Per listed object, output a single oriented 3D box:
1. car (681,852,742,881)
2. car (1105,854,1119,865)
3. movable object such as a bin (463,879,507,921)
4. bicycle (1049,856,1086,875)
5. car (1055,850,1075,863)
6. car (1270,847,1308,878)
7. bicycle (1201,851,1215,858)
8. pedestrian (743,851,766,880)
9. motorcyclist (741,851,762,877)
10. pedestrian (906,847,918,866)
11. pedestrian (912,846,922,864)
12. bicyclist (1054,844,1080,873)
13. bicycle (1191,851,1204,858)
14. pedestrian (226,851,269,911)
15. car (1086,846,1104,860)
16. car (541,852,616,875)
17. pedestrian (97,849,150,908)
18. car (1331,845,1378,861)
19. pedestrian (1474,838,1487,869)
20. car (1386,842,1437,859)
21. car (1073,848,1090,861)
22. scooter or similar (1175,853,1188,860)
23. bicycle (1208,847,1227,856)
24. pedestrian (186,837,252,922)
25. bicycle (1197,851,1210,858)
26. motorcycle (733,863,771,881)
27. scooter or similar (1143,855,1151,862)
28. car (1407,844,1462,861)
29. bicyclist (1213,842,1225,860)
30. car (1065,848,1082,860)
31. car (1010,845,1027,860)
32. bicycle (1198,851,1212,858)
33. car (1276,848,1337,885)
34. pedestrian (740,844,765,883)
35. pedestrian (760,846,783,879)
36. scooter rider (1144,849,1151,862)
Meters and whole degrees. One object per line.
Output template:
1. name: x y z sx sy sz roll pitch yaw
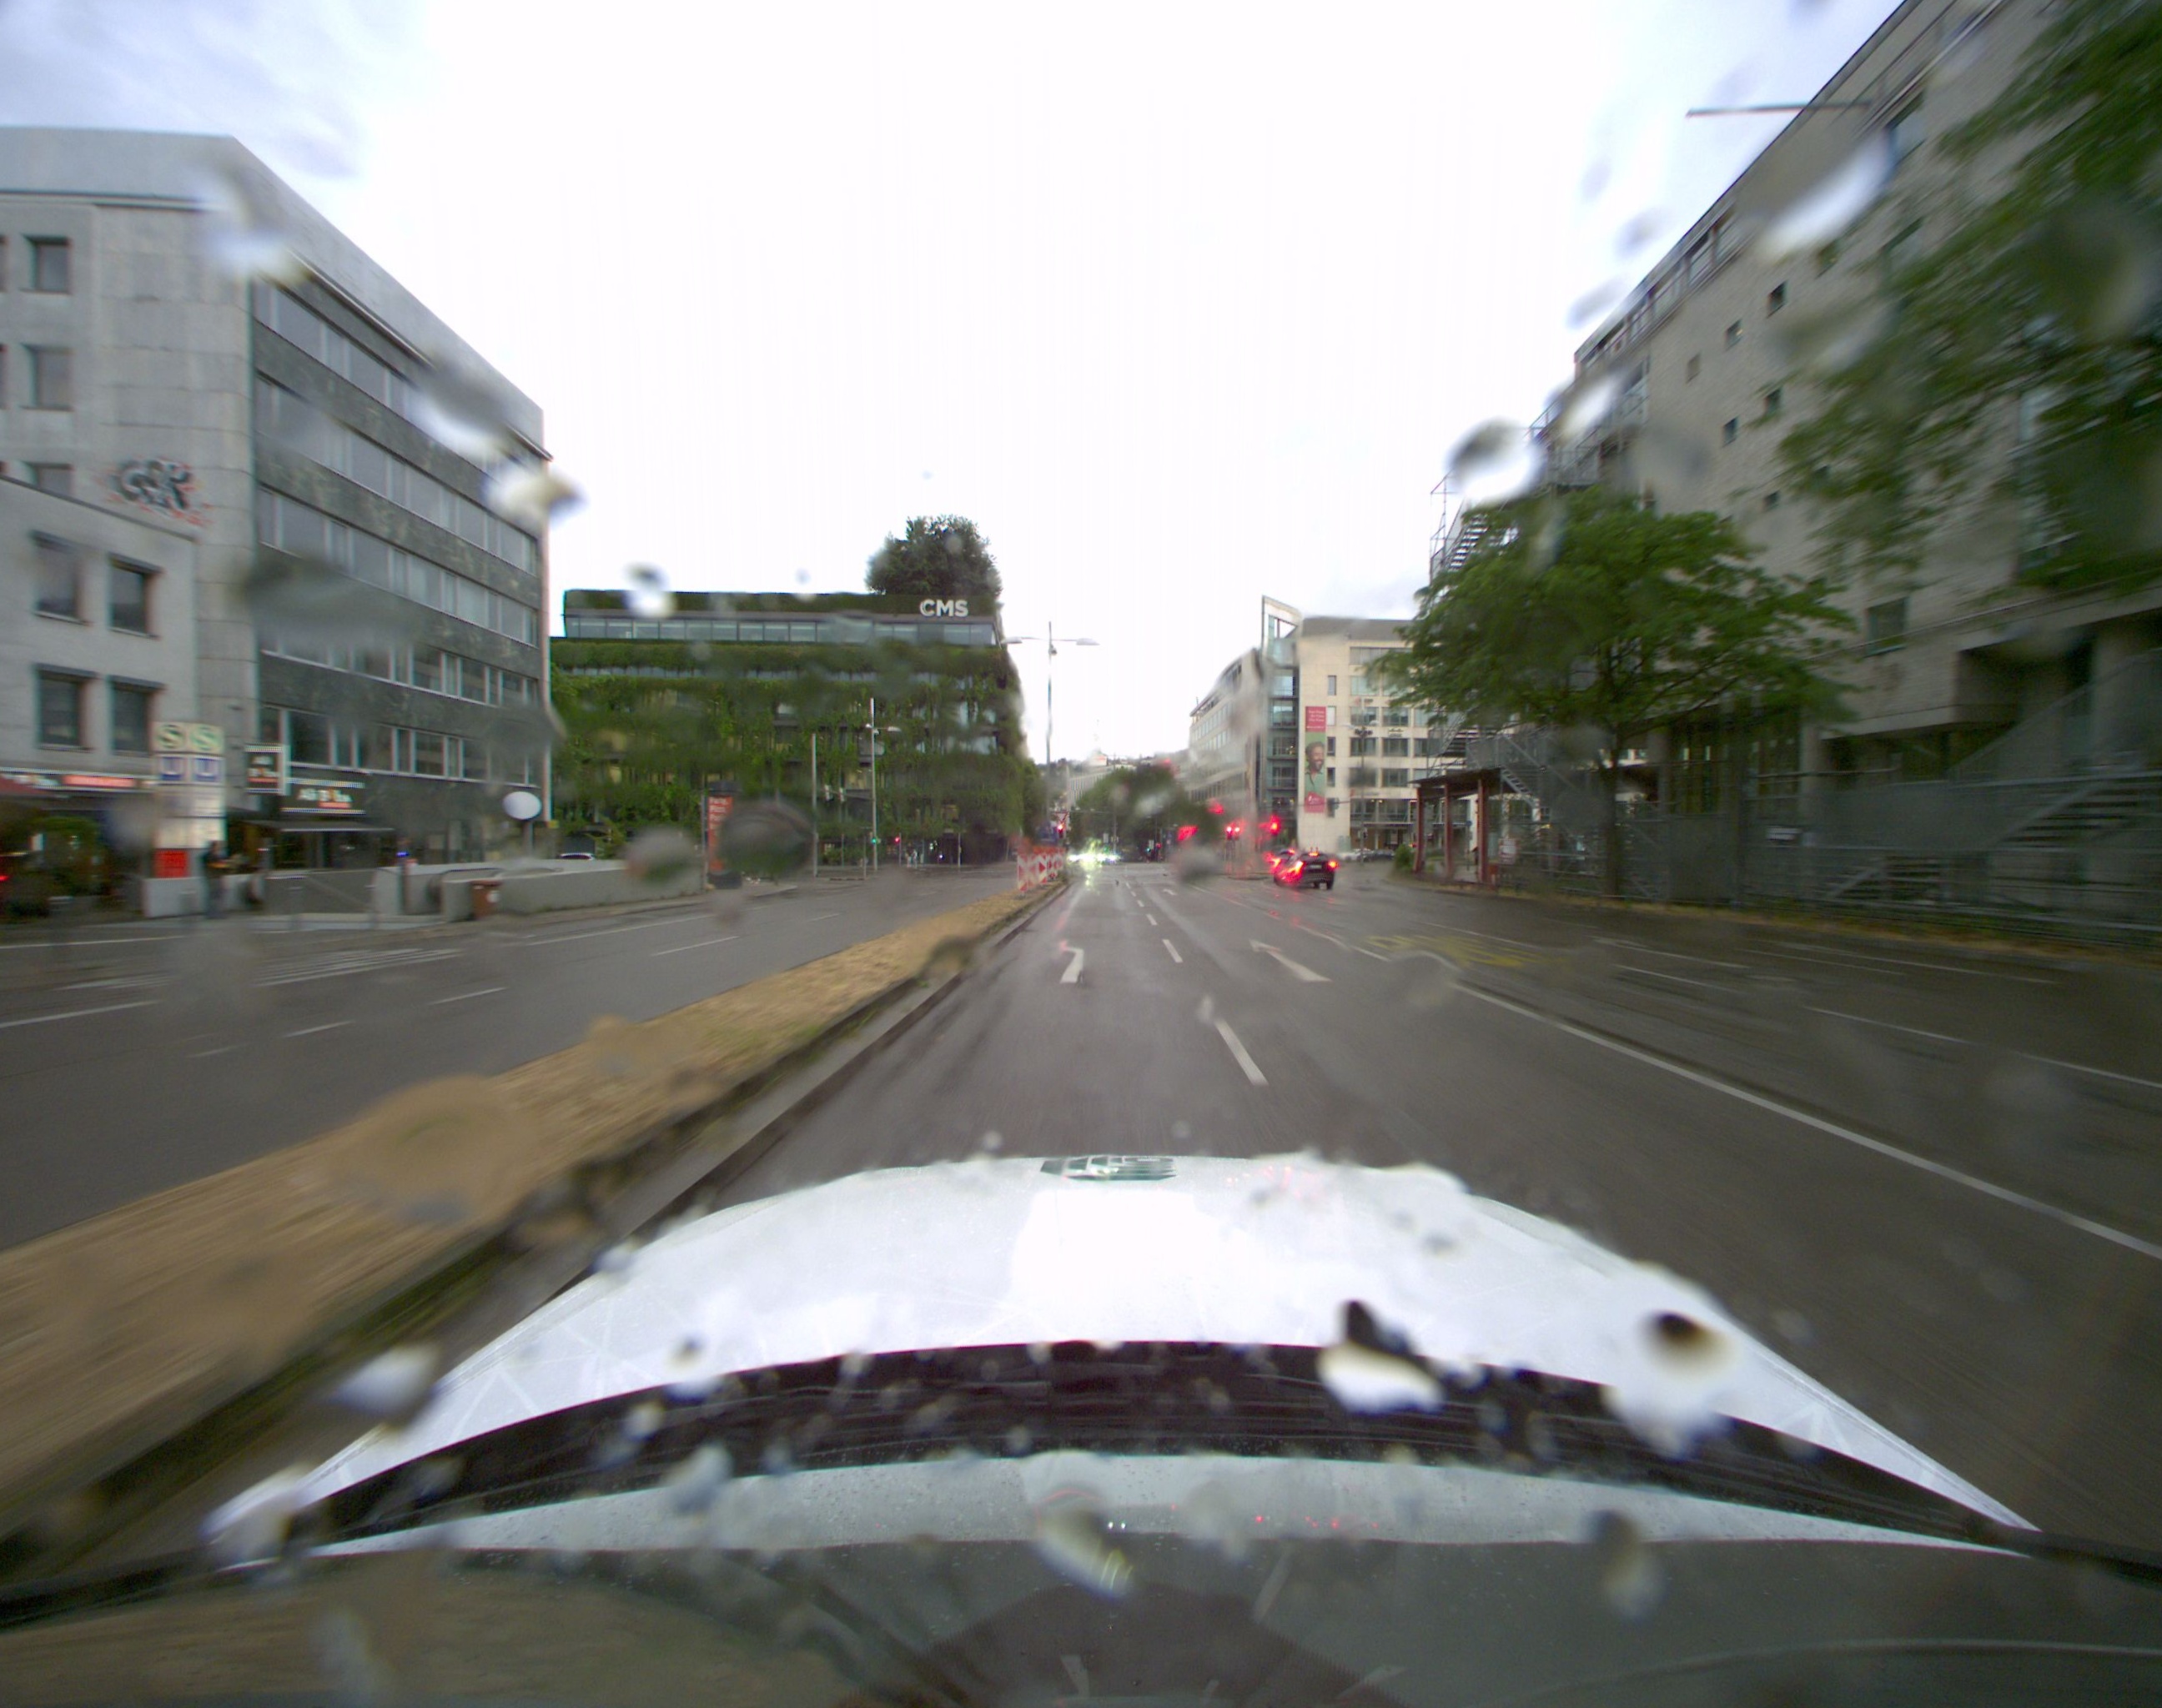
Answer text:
1. car: -25.827 0.871 57.037 3.450 1.922 1.993 -1 0 -11
2. car: 4.871 0.825 127.574 1.988 1.443 4.554 -1 1 -1
3. movable object such as a bin: -13.655 1.047 18.676 0.531 0.897 0.680 -2 0 -8
4. bicycle: -0.784 0.695 48.974 2.163 1.103 0.838 -1 0 -39
5. car: -1.947 0.291 97.051 1.855 1.448 4.607 -1 1 -9
6. car: 10.986 0.405 42.793 1.690 1.529 4.447 0 0 17
7. bicycle: 16.376 0.093 105.059 1.778 0.934 0.478 0 0 43
8. pedestrian: -18.897 0.655 47.170 0.828 1.585 0.923 -4 0 2
9. motorcyclist: -22.224 0.687 54.994 1.187 1.703 0.844 -1 0 -15
10. pedestrian: -16.140 0.220 77.958 0.938 1.758 1.163 -1 0 -22
11. pedestrian: -15.759 0.109 78.141 0.744 1.758 0.969 -1 0 -22
12. bicyclist: -0.820 0.275 48.913 1.305 1.704 0.838 -1 0 -39
13. bicycle: 15.890 0.090 111.255 1.786 0.934 0.476 -1 0 4
14. pedestrian: -26.879 0.858 26.276 0.755 1.885 0.590 0 0 -5
15. car: 1.630 -0.101 97.032 1.988 1.550 4.552 -1 0 -2
16. car: -34.233 0.642 55.529 3.893 1.523 1.865 -1 0 -11
17. pedestrian: -23.824 0.590 20.277 0.601 1.450 0.587 0 0 -4
18. car: 29.323 -0.097 87.373 4.455 1.598 1.991 -1 0 -13
19. pedestrian: 24.299 -0.023 49.509 0.673 1.852 1.062 -1 0 26
20. car: 33.070 -0.370 81.526 4.455 1.598 1.991 -1 0 -13
21. car: 0.085 0.047 117.671 2.171 1.823 4.637 -1 0 -4
22. scooter or similar: 14.592 0.359 118.464 1.750 0.878 0.486 -1 0 -17
23. bicycle: 15.689 -0.277 93.659 0.798 1.117 2.230 0 0 -39
24. pedestrian: -19.544 0.553 18.485 0.687 1.885 0.758 0 0 -3
25. bicycle: 16.451 0.084 109.389 1.786 0.934 0.476 -1 0 4
26. motorcycle: -22.203 1.211 54.999 2.231 1.210 0.844 -1 0 -15
27. scooter or similar: 9.119 0.607 112.143 0.557 1.007 1.815 -1 0 -14
28. car: 32.506 -0.165 74.940 4.452 1.464 1.716 -1 0 -11
29. bicyclist: 15.824 -0.347 93.497 0.798 1.975 1.101 0 0 -39
30. car: -0.923 -0.052 103.322 1.853 1.448 4.614 -1 1 -4
31. car: -8.225 -0.253 107.474 1.988 1.895 4.461 -1 0 -2
32. bicycle: 15.648 0.067 102.724 1.778 0.934 0.478 0 0 43
33. car: 9.789 0.507 35.652 1.770 1.540 4.151 -1 0 4
34. pedestrian: -16.652 0.481 41.319 0.804 1.885 0.865 -4 0 -5
35. pedestrian: -17.948 0.488 47.259 0.781 1.885 0.898 -4 0 1
36. scooter rider: 9.105 0.181 112.142 0.763 1.774 0.792 -1 0 -14
